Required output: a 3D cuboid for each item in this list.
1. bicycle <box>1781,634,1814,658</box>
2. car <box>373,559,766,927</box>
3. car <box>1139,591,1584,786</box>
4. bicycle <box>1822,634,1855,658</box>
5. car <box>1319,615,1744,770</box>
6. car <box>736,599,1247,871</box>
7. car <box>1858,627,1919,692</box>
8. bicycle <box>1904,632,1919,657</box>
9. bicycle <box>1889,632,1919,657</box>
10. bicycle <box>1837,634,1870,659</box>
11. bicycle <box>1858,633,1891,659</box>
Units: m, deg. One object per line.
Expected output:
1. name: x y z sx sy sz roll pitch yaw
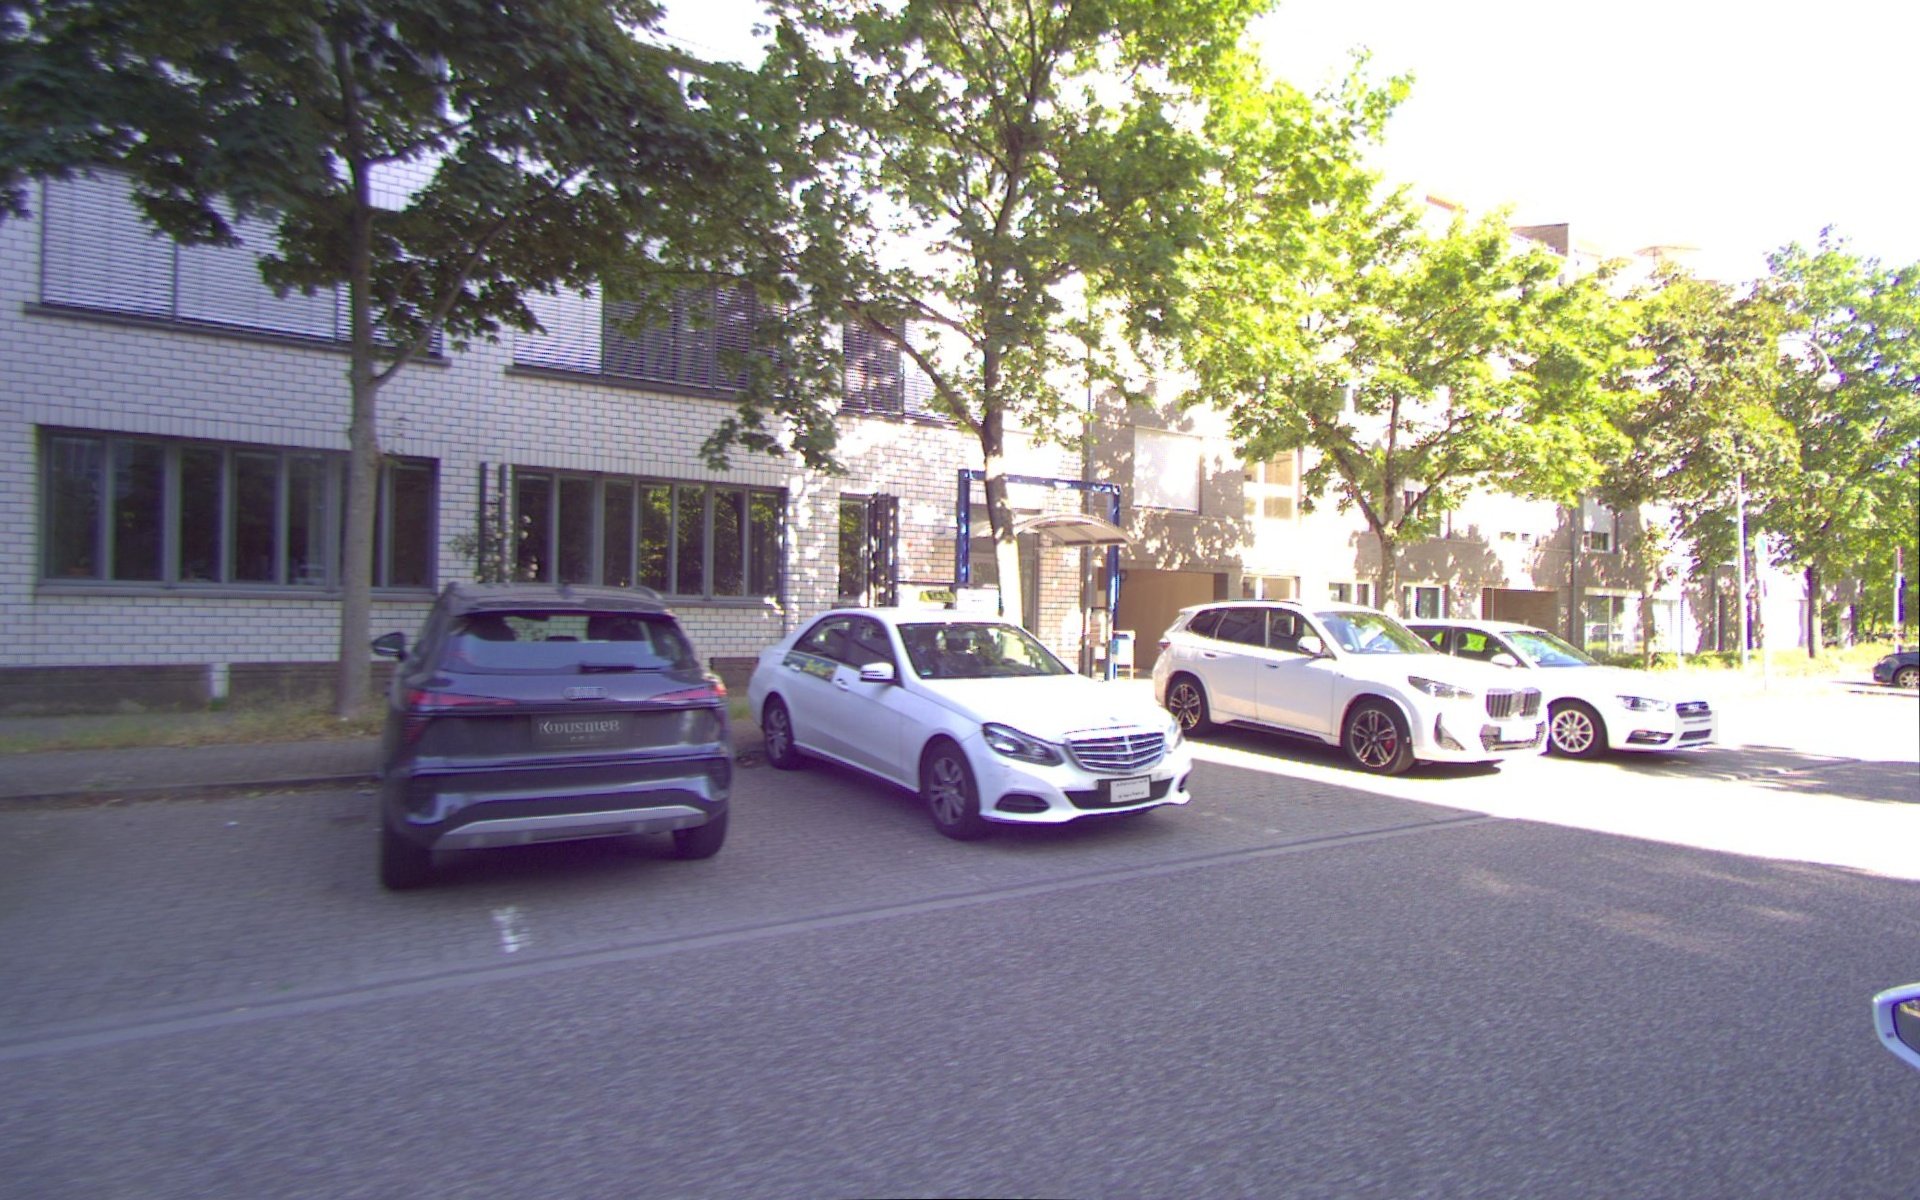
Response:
1. bicycle: 38.534 2.113 46.213 2.167 1.061 0.435 2 0 -30
2. car: -2.789 0.628 6.718 1.781 1.642 4.095 1 0 -28
3. car: 4.081 0.779 10.960 1.929 1.624 4.206 2 0 -29
4. bicycle: 39.318 2.070 44.966 2.167 1.061 0.435 2 0 -30
5. car: 6.726 0.966 12.330 1.779 1.499 4.237 1 -1 -31
6. car: -0.082 0.795 8.188 1.921 1.471 4.480 1 1 -34
7. car: 22.687 1.369 22.173 1.798 1.430 3.963 2 0 -33
8. bicycle: 41.616 1.944 43.516 2.167 1.061 0.435 2 0 -30
9. bicycle: 41.391 1.933 43.954 2.167 1.061 0.435 2 0 -30
10. bicycle: 39.578 2.062 44.500 2.167 1.061 0.435 2 0 -30
11. bicycle: 39.747 1.998 43.650 2.167 1.061 0.435 2 0 -30
